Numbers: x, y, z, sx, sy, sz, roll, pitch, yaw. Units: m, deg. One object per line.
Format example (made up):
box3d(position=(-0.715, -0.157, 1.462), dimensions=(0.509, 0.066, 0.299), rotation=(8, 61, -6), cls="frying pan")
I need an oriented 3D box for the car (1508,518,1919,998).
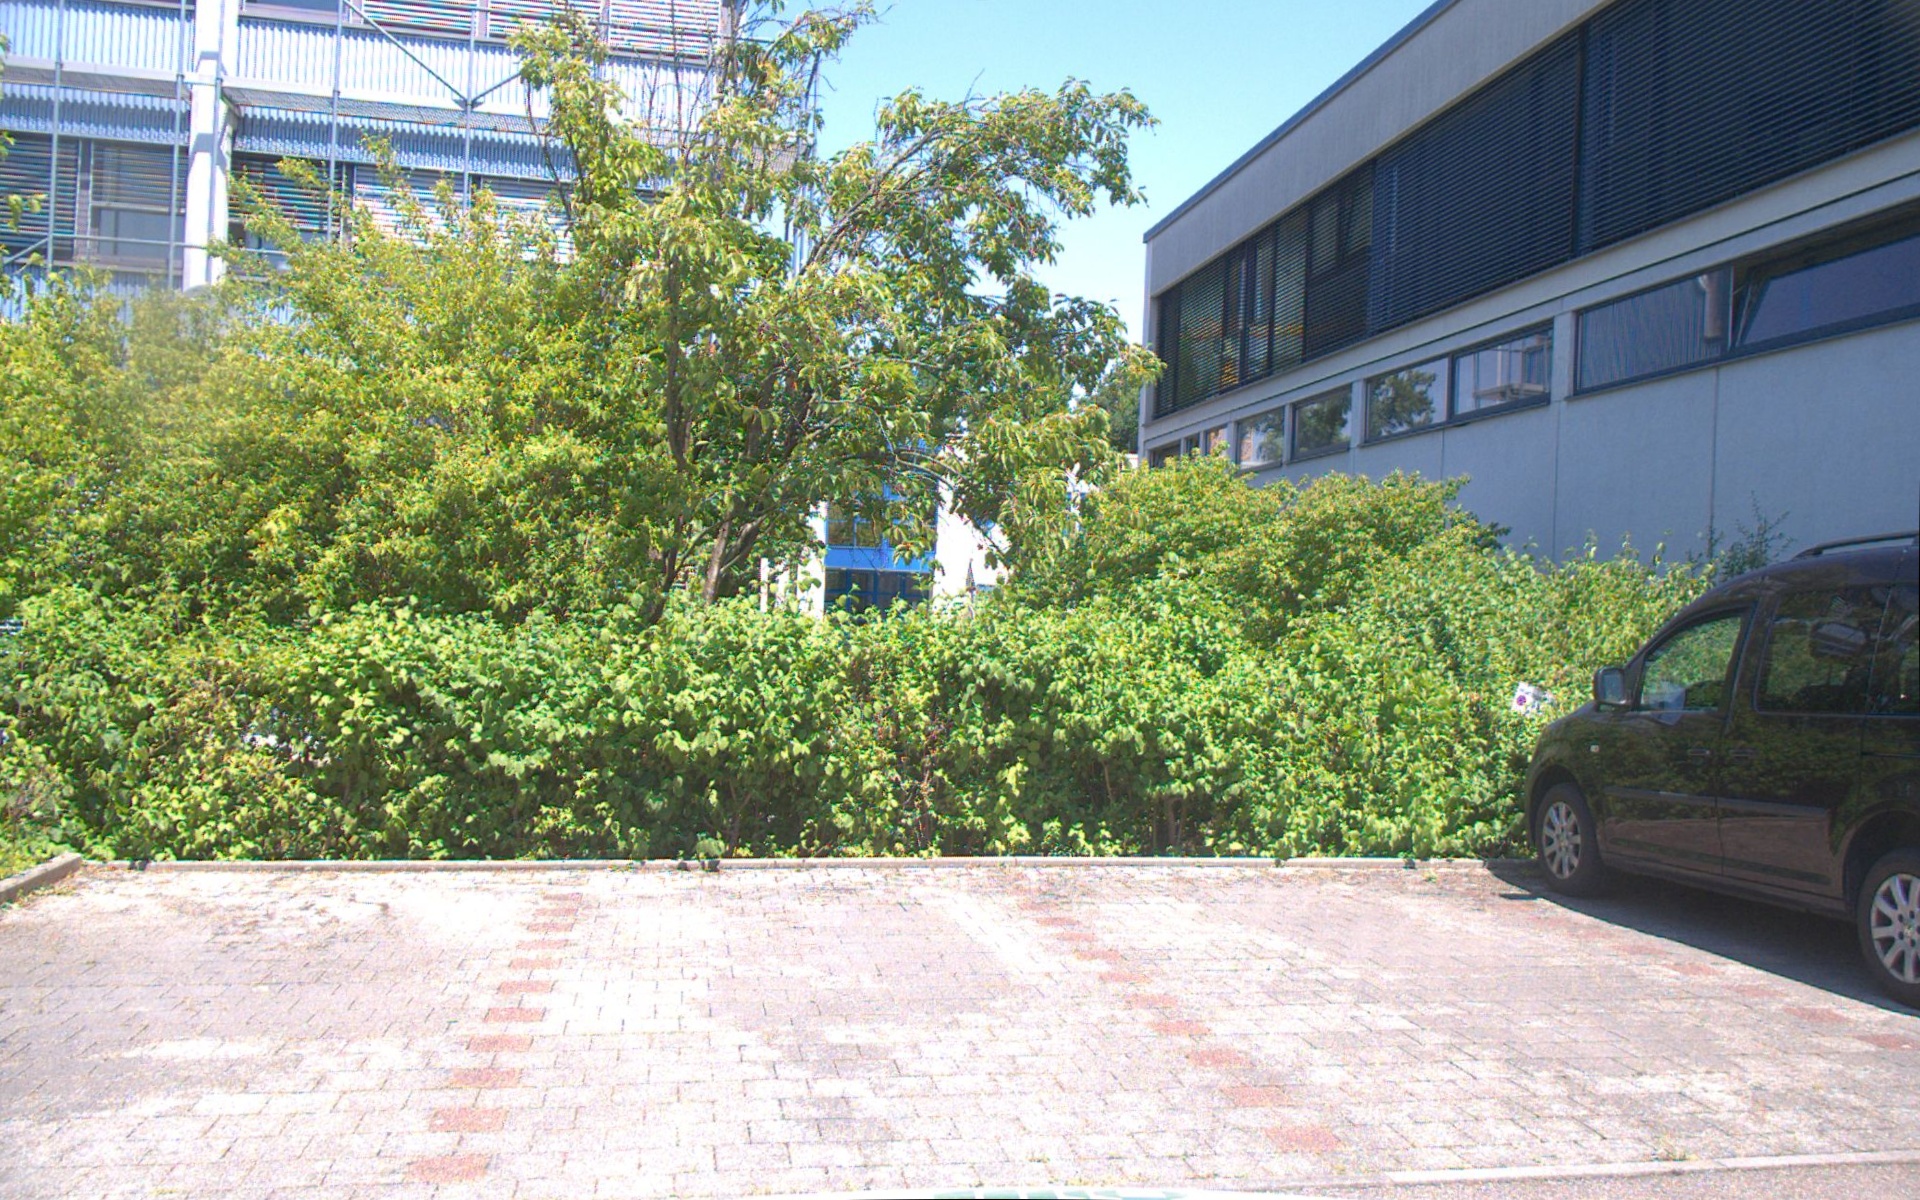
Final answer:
box3d(position=(4.380, 0.636, 7.774), dimensions=(1.712, 1.869, 3.990), rotation=(1, -1, -10), cls="car")
